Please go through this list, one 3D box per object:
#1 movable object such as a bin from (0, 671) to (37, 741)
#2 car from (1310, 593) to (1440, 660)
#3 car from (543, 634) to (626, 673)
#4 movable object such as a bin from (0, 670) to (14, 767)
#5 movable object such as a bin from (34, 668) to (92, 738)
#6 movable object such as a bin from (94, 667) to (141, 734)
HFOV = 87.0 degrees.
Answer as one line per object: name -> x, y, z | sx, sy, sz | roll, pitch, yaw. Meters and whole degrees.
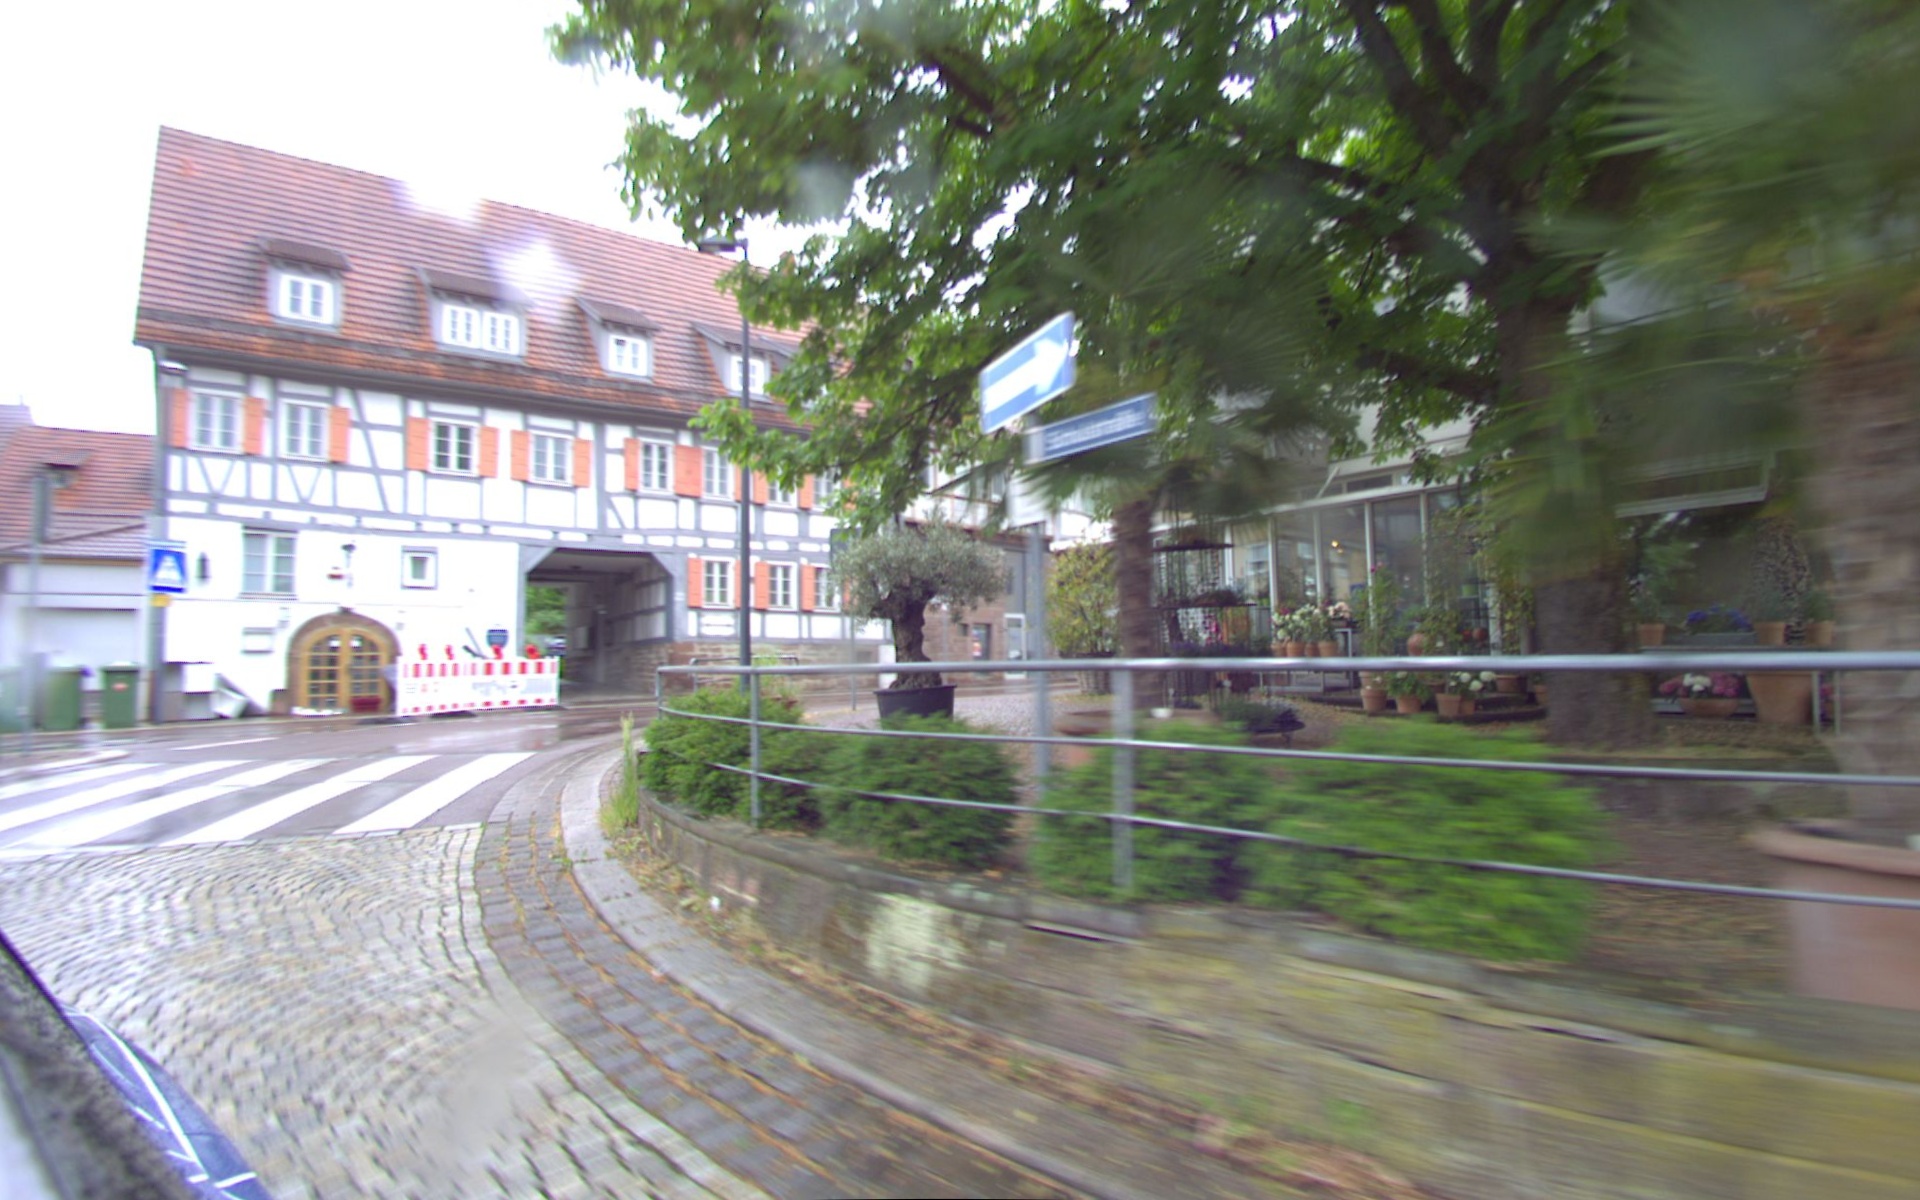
movable object such as a bin -> -15.134, 1.684, 16.119 | 0.577, 1.074, 0.682 | 0, -3, -38
car -> 12.734, 0.815, 30.969 | 4.358, 1.839, 1.732 | 1, -5, -40
car -> -15.230, 2.165, 41.019 | 2.935, 1.462, 1.416 | 0, -4, -30
movable object such as a bin -> -10.597, 1.286, 10.780 | 0.526, 1.040, 0.545 | -2, -2, -6
movable object such as a bin -> -14.474, 1.654, 16.344 | 0.530, 1.074, 0.620 | -1, -2, -23
movable object such as a bin -> -14.002, 1.657, 16.822 | 0.681, 1.074, 0.532 | -4, -4, 45
